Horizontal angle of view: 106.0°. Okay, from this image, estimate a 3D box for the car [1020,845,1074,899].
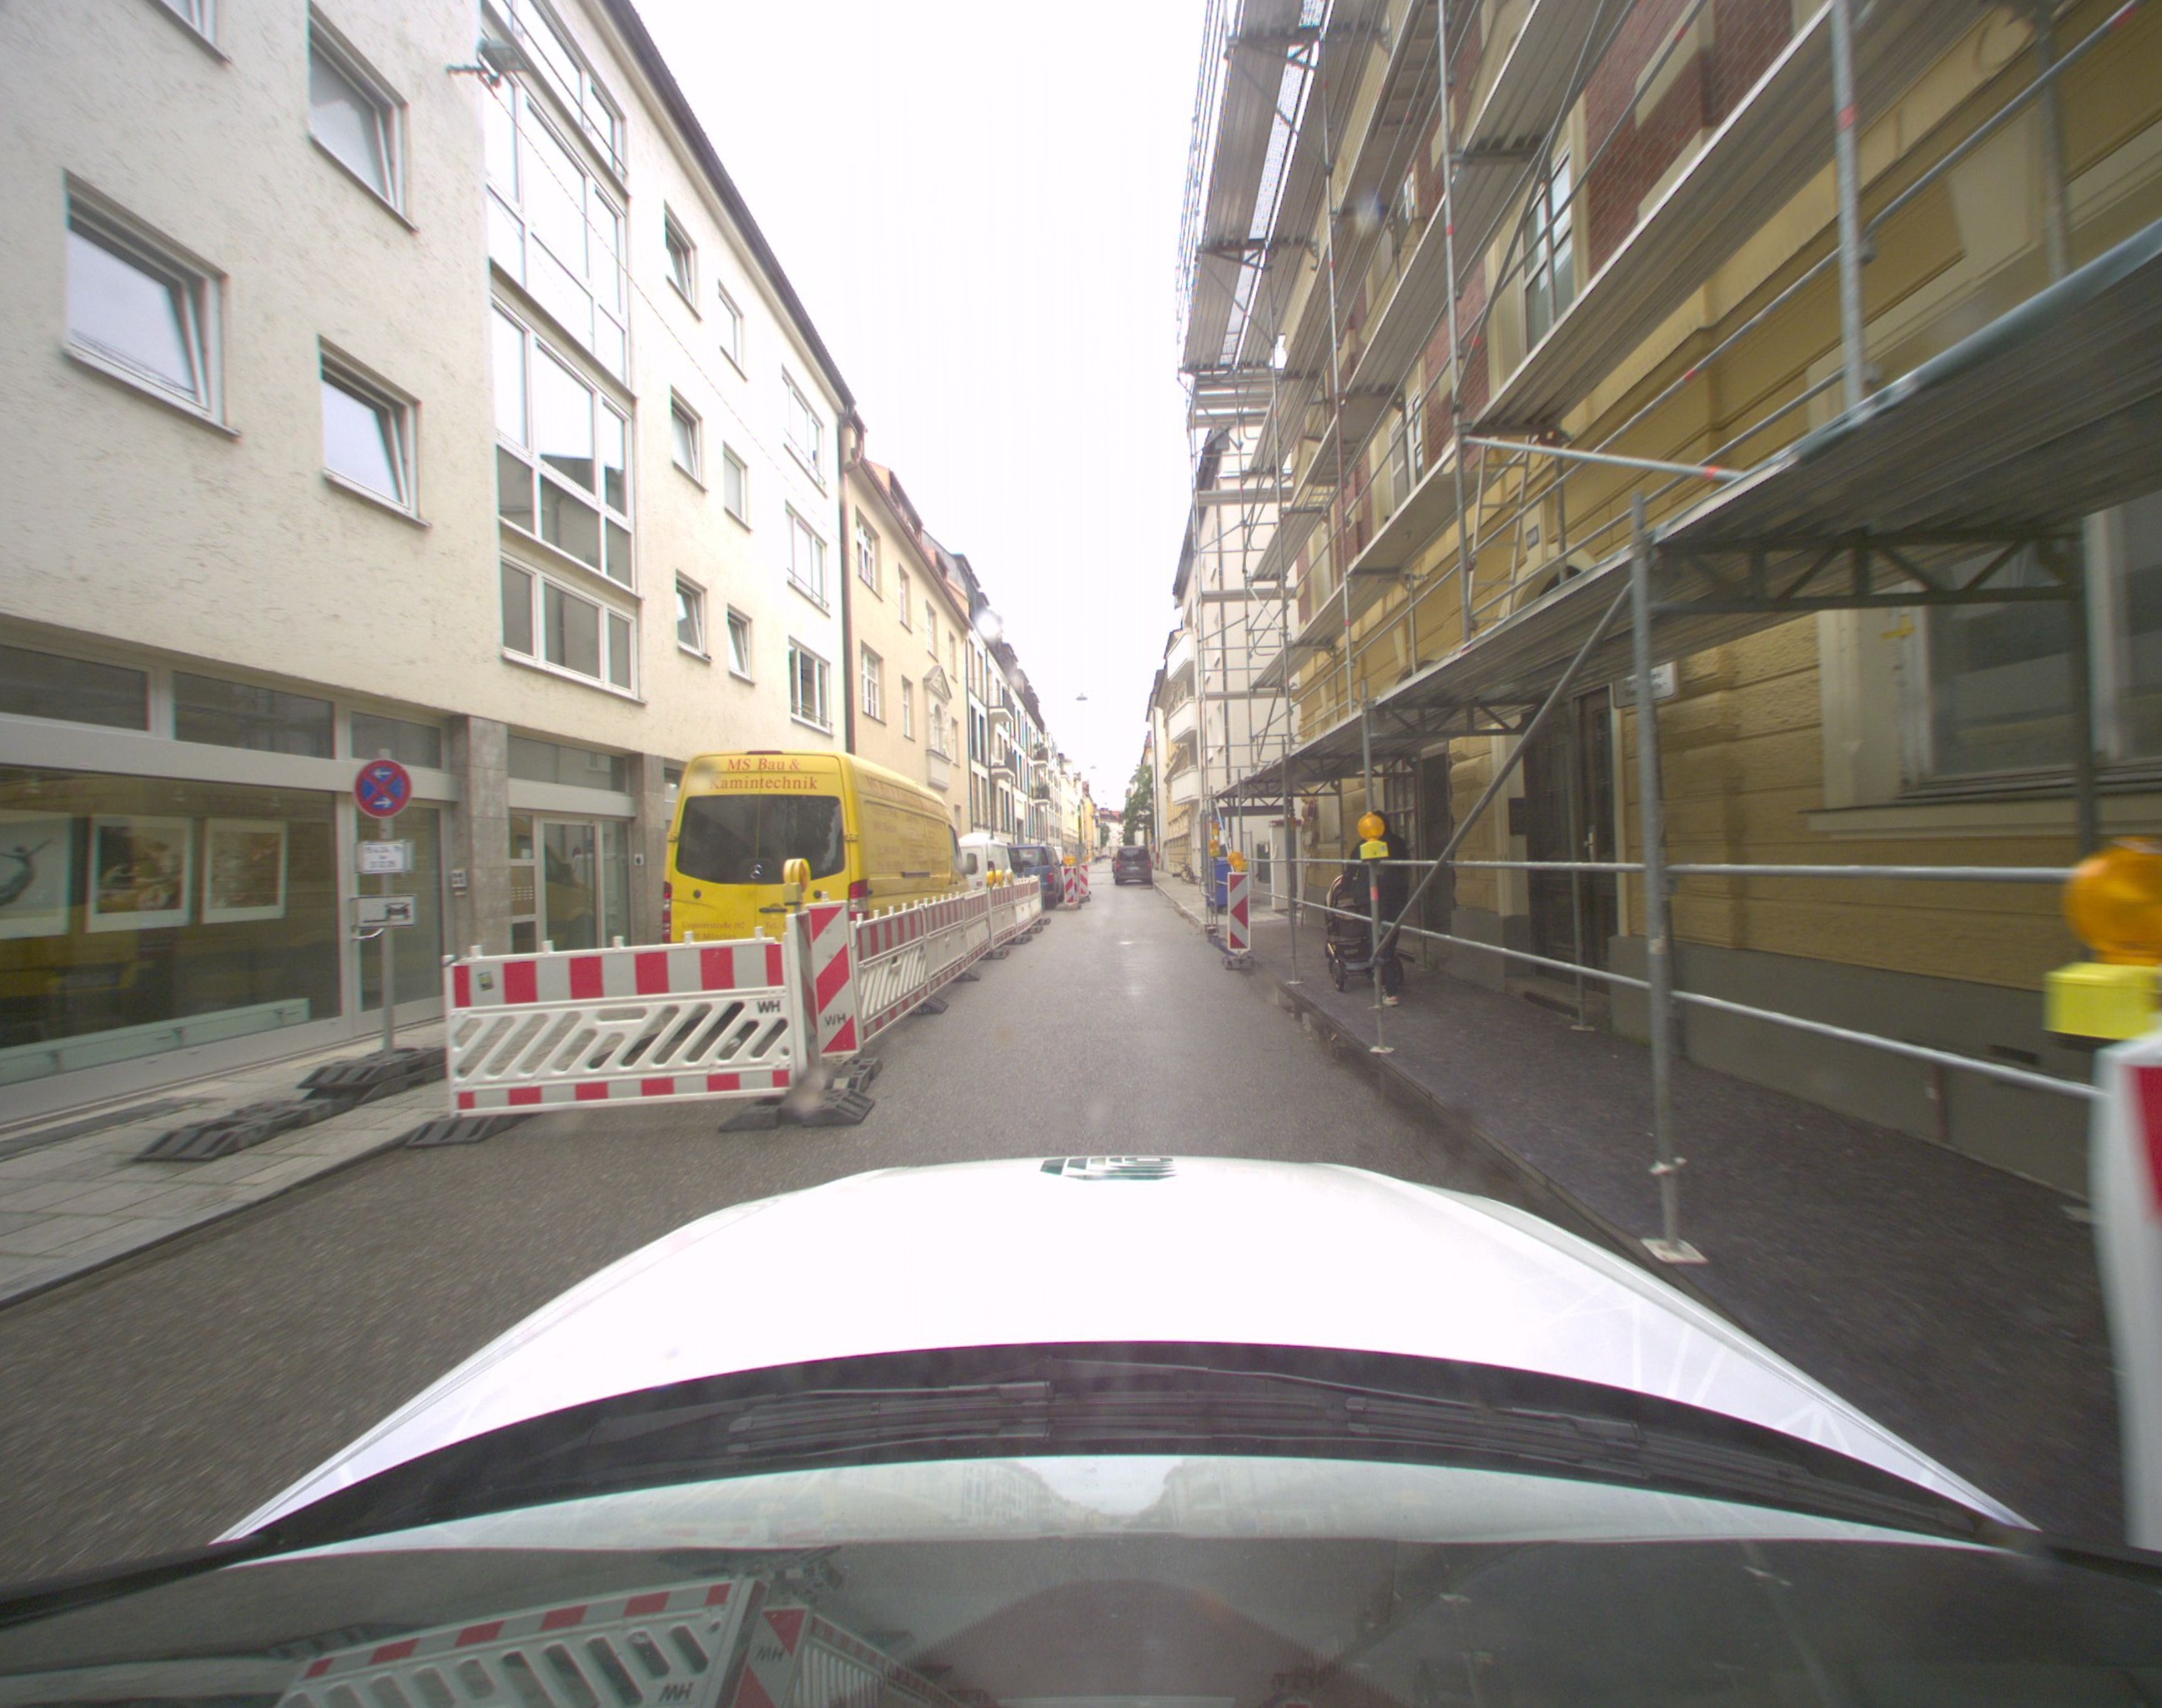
[{"bbox_3d":[-1.285,0.675,32.370,1.899,1.897,5.086,-2,-1,-1],"label":"car"}]

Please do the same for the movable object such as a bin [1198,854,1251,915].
[{"bbox_3d":[3.578,0.733,20.172,1.078,1.346,1.323,-5,0,15],"label":"movable object such as a bin"}]

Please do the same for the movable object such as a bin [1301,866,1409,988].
[{"bbox_3d":[2.896,0.746,8.710,0.727,1.141,0.988,-6,-1,1],"label":"movable object such as a bin"}]

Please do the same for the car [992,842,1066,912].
[{"bbox_3d":[-1.551,0.681,26.366,1.720,1.897,5.511,-4,0,2],"label":"car"}]

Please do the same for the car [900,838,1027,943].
[{"bbox_3d":[-2.427,0.718,18.078,1.910,1.897,4.791,-4,0,1],"label":"car"}]

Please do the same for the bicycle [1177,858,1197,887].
[{"bbox_3d":[4.628,0.786,35.670,0.635,1.153,1.917,-5,0,3],"label":"bicycle"}]

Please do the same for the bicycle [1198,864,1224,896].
[{"bbox_3d":[4.246,0.845,26.671,0.403,0.991,1.326,-5,-1,-6],"label":"bicycle"}]

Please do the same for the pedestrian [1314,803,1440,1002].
[{"bbox_3d":[2.842,0.442,7.931,0.727,1.752,0.988,-6,-1,1],"label":"pedestrian"}]

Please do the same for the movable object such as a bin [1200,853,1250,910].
[{"bbox_3d":[3.790,0.714,21.405,1.119,1.345,1.174,-6,-1,10],"label":"movable object such as a bin"}]

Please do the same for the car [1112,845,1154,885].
[{"bbox_3d":[2.666,0.547,42.634,1.986,1.932,4.662,-1,0,2],"label":"car"}]

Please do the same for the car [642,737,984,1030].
[{"bbox_3d":[-2.846,0.278,10.764,1.986,2.578,6.739,-3,0,2],"label":"car"}]
